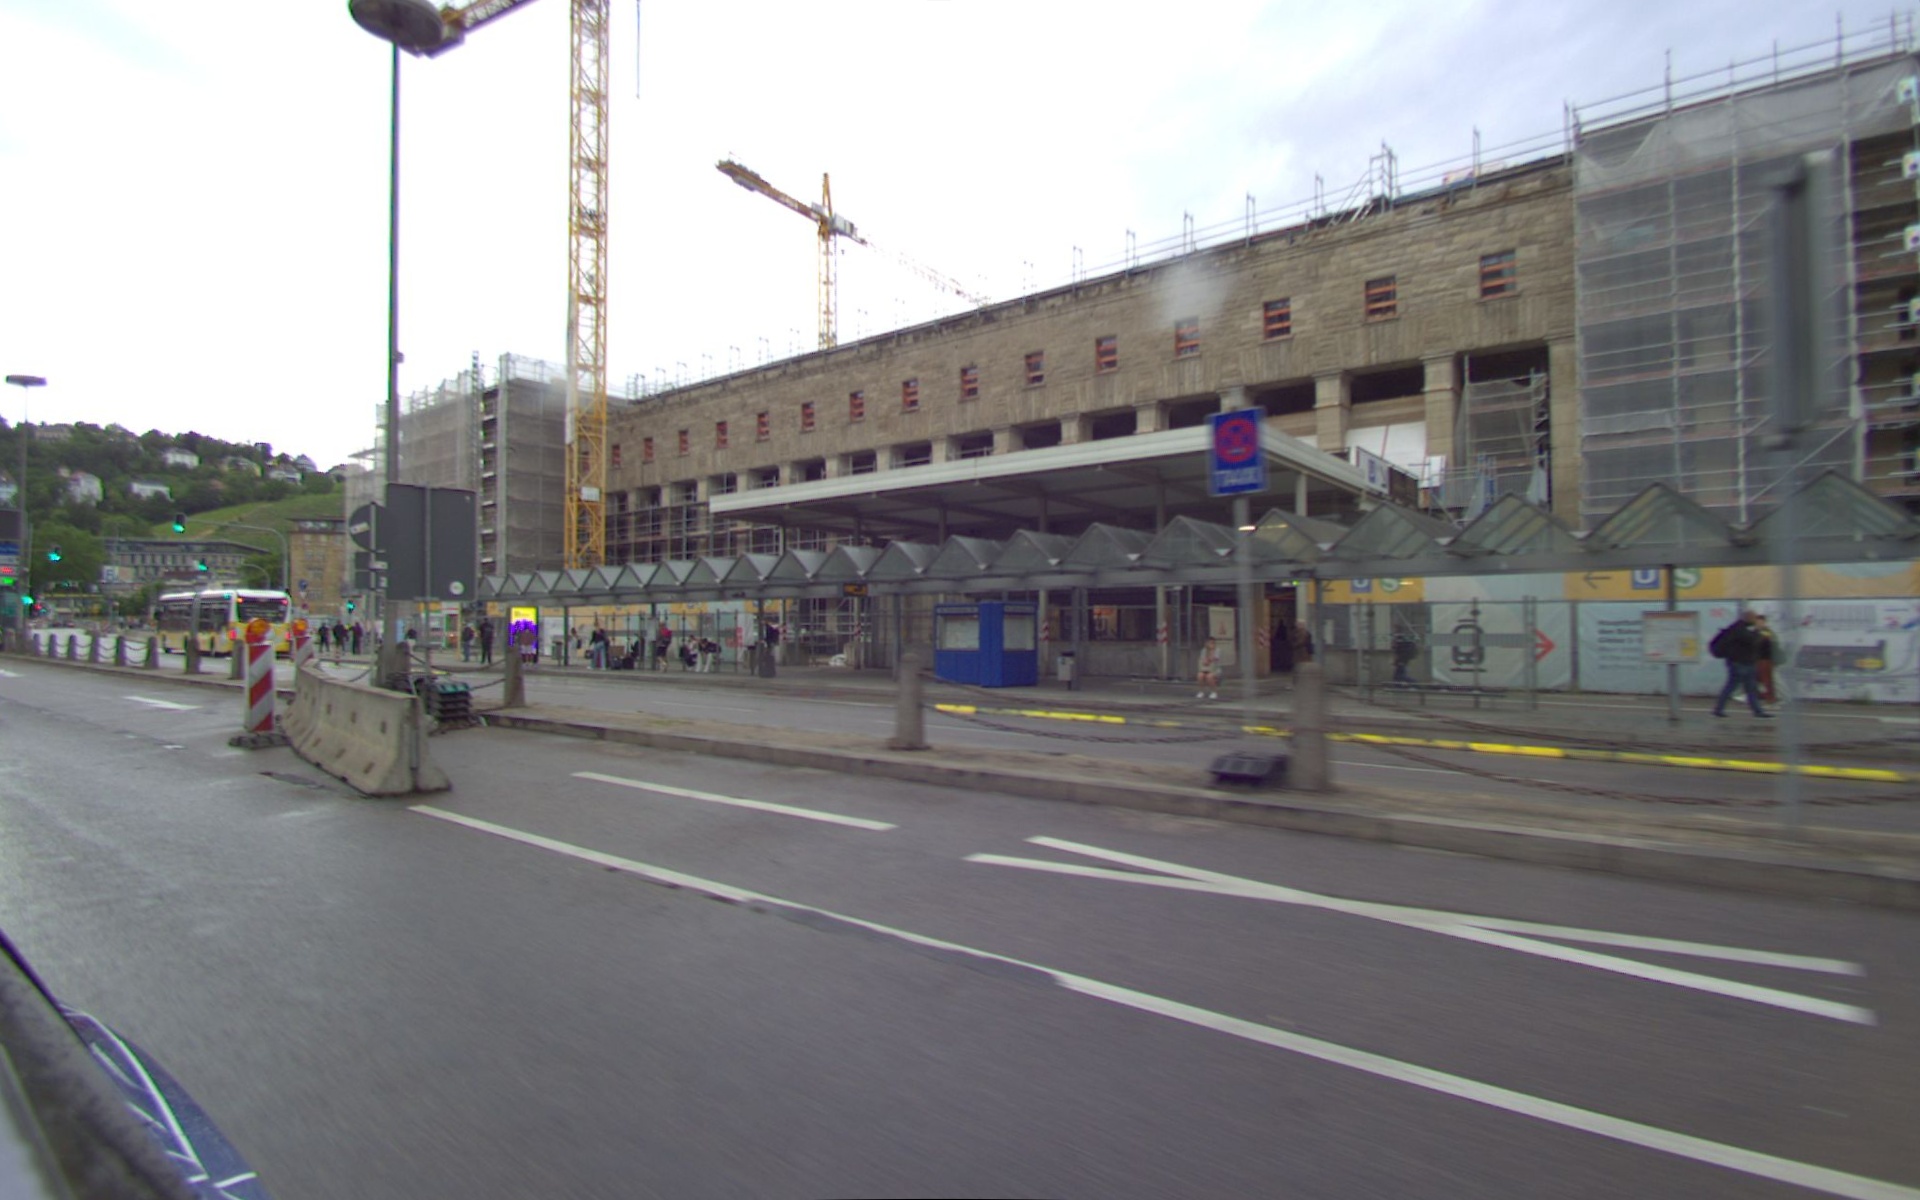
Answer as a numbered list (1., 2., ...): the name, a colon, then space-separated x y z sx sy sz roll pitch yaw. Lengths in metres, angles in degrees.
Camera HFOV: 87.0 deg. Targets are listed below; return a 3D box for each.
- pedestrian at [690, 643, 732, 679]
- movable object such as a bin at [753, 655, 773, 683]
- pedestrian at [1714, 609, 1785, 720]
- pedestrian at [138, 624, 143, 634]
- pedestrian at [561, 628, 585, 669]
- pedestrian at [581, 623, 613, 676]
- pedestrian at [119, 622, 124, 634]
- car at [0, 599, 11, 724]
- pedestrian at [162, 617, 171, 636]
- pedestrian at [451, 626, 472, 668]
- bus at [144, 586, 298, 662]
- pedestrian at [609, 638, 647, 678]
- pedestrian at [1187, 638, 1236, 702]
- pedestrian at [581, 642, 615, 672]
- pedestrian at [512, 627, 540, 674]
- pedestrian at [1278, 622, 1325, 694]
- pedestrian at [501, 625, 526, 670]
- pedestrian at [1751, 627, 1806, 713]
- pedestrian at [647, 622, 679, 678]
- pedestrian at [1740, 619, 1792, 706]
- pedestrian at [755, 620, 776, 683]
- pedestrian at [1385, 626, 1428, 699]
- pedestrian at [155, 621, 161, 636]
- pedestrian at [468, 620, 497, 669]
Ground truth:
1. pedestrian: -8.362 2.044 34.013 1.054 1.167 0.940 -2 -2 39
2. movable object such as a bin: -5.740 2.002 29.522 0.503 0.795 0.635 1 -2 -6
3. pedestrian: 13.496 1.082 17.307 0.734 1.855 0.704 0 -2 -31
4. pedestrian: -102.578 3.646 126.718 0.413 1.250 0.432 -2 -2 43
5. pedestrian: -15.624 1.960 40.862 0.802 1.643 0.552 -1 -2 31
6. pedestrian: -12.554 1.690 35.041 0.766 1.804 0.861 1 -2 -44
7. pedestrian: -111.076 3.729 134.078 0.413 1.628 0.433 -2 -2 41
8. car: -17.329 0.994 16.436 5.242 1.919 1.975 -1 -1 38
9. pedestrian: -86.320 2.870 110.110 0.685 2.049 0.585 -2 -2 41
10. pedestrian: -21.648 2.047 43.950 0.690 1.804 0.795 1 -2 -39
11. bus: -41.085 1.382 55.693 19.071 3.605 2.878 -1 -3 42
12. pedestrian: -12.127 2.107 36.944 0.830 1.443 1.045 -2 -2 38
13. pedestrian: 5.456 1.509 21.961 0.804 1.336 0.693 -2 -2 38
14. pedestrian: -13.679 2.135 38.233 0.925 1.101 0.836 -2 -2 38
15. pedestrian: -17.055 1.983 39.739 0.746 1.804 0.718 -2 -2 34
16. pedestrian: 8.379 1.407 24.807 0.835 1.713 0.869 -2 -2 38
17. pedestrian: -18.072 1.899 40.972 0.802 1.804 0.552 -1 -2 31
18. pedestrian: 15.444 1.300 19.115 0.700 1.559 0.796 -2 -2 34
19. pedestrian: -9.709 1.634 33.076 0.777 1.804 0.668 -1 -2 21
20. pedestrian: 15.874 1.211 19.950 0.700 1.683 0.796 -2 -2 34
21. pedestrian: -5.794 1.517 30.192 0.549 1.862 0.679 0 -2 -5
22. pedestrian: 10.199 1.402 23.106 0.701 1.620 0.795 -2 -2 38
23. pedestrian: -85.964 3.026 108.489 0.413 1.628 0.433 -2 -2 41
24. pedestrian: -19.539 1.788 41.405 0.821 1.974 0.752 -1 -2 37
